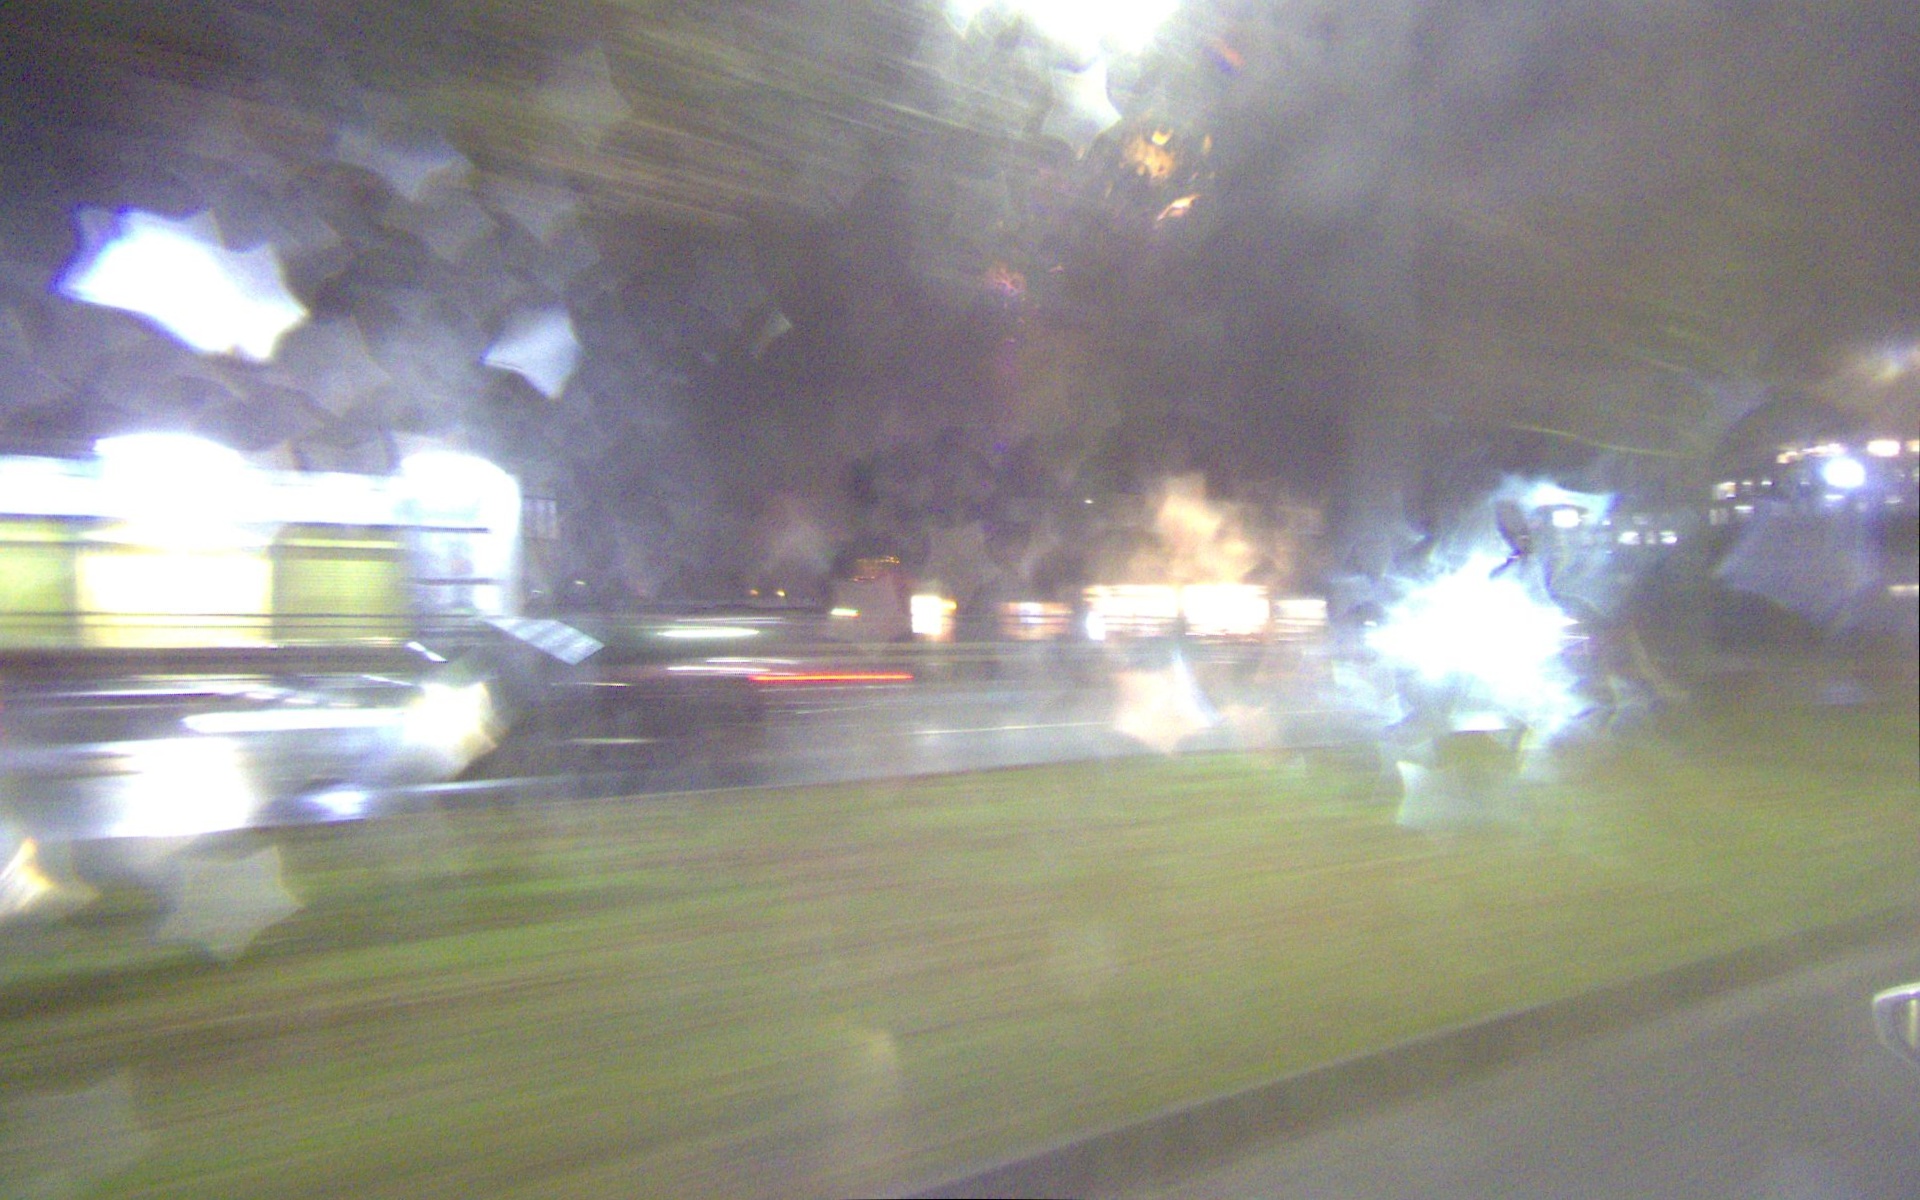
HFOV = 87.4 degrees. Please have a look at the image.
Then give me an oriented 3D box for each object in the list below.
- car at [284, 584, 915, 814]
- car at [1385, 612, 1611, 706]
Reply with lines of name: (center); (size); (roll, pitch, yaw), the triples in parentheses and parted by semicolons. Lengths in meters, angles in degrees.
car: (-2.823, 0.744, 8.457); (4.585, 1.482, 1.858); (2, -4, -30)
car: (10.245, 1.069, 19.123); (3.951, 1.615, 1.985); (1, -2, -29)
